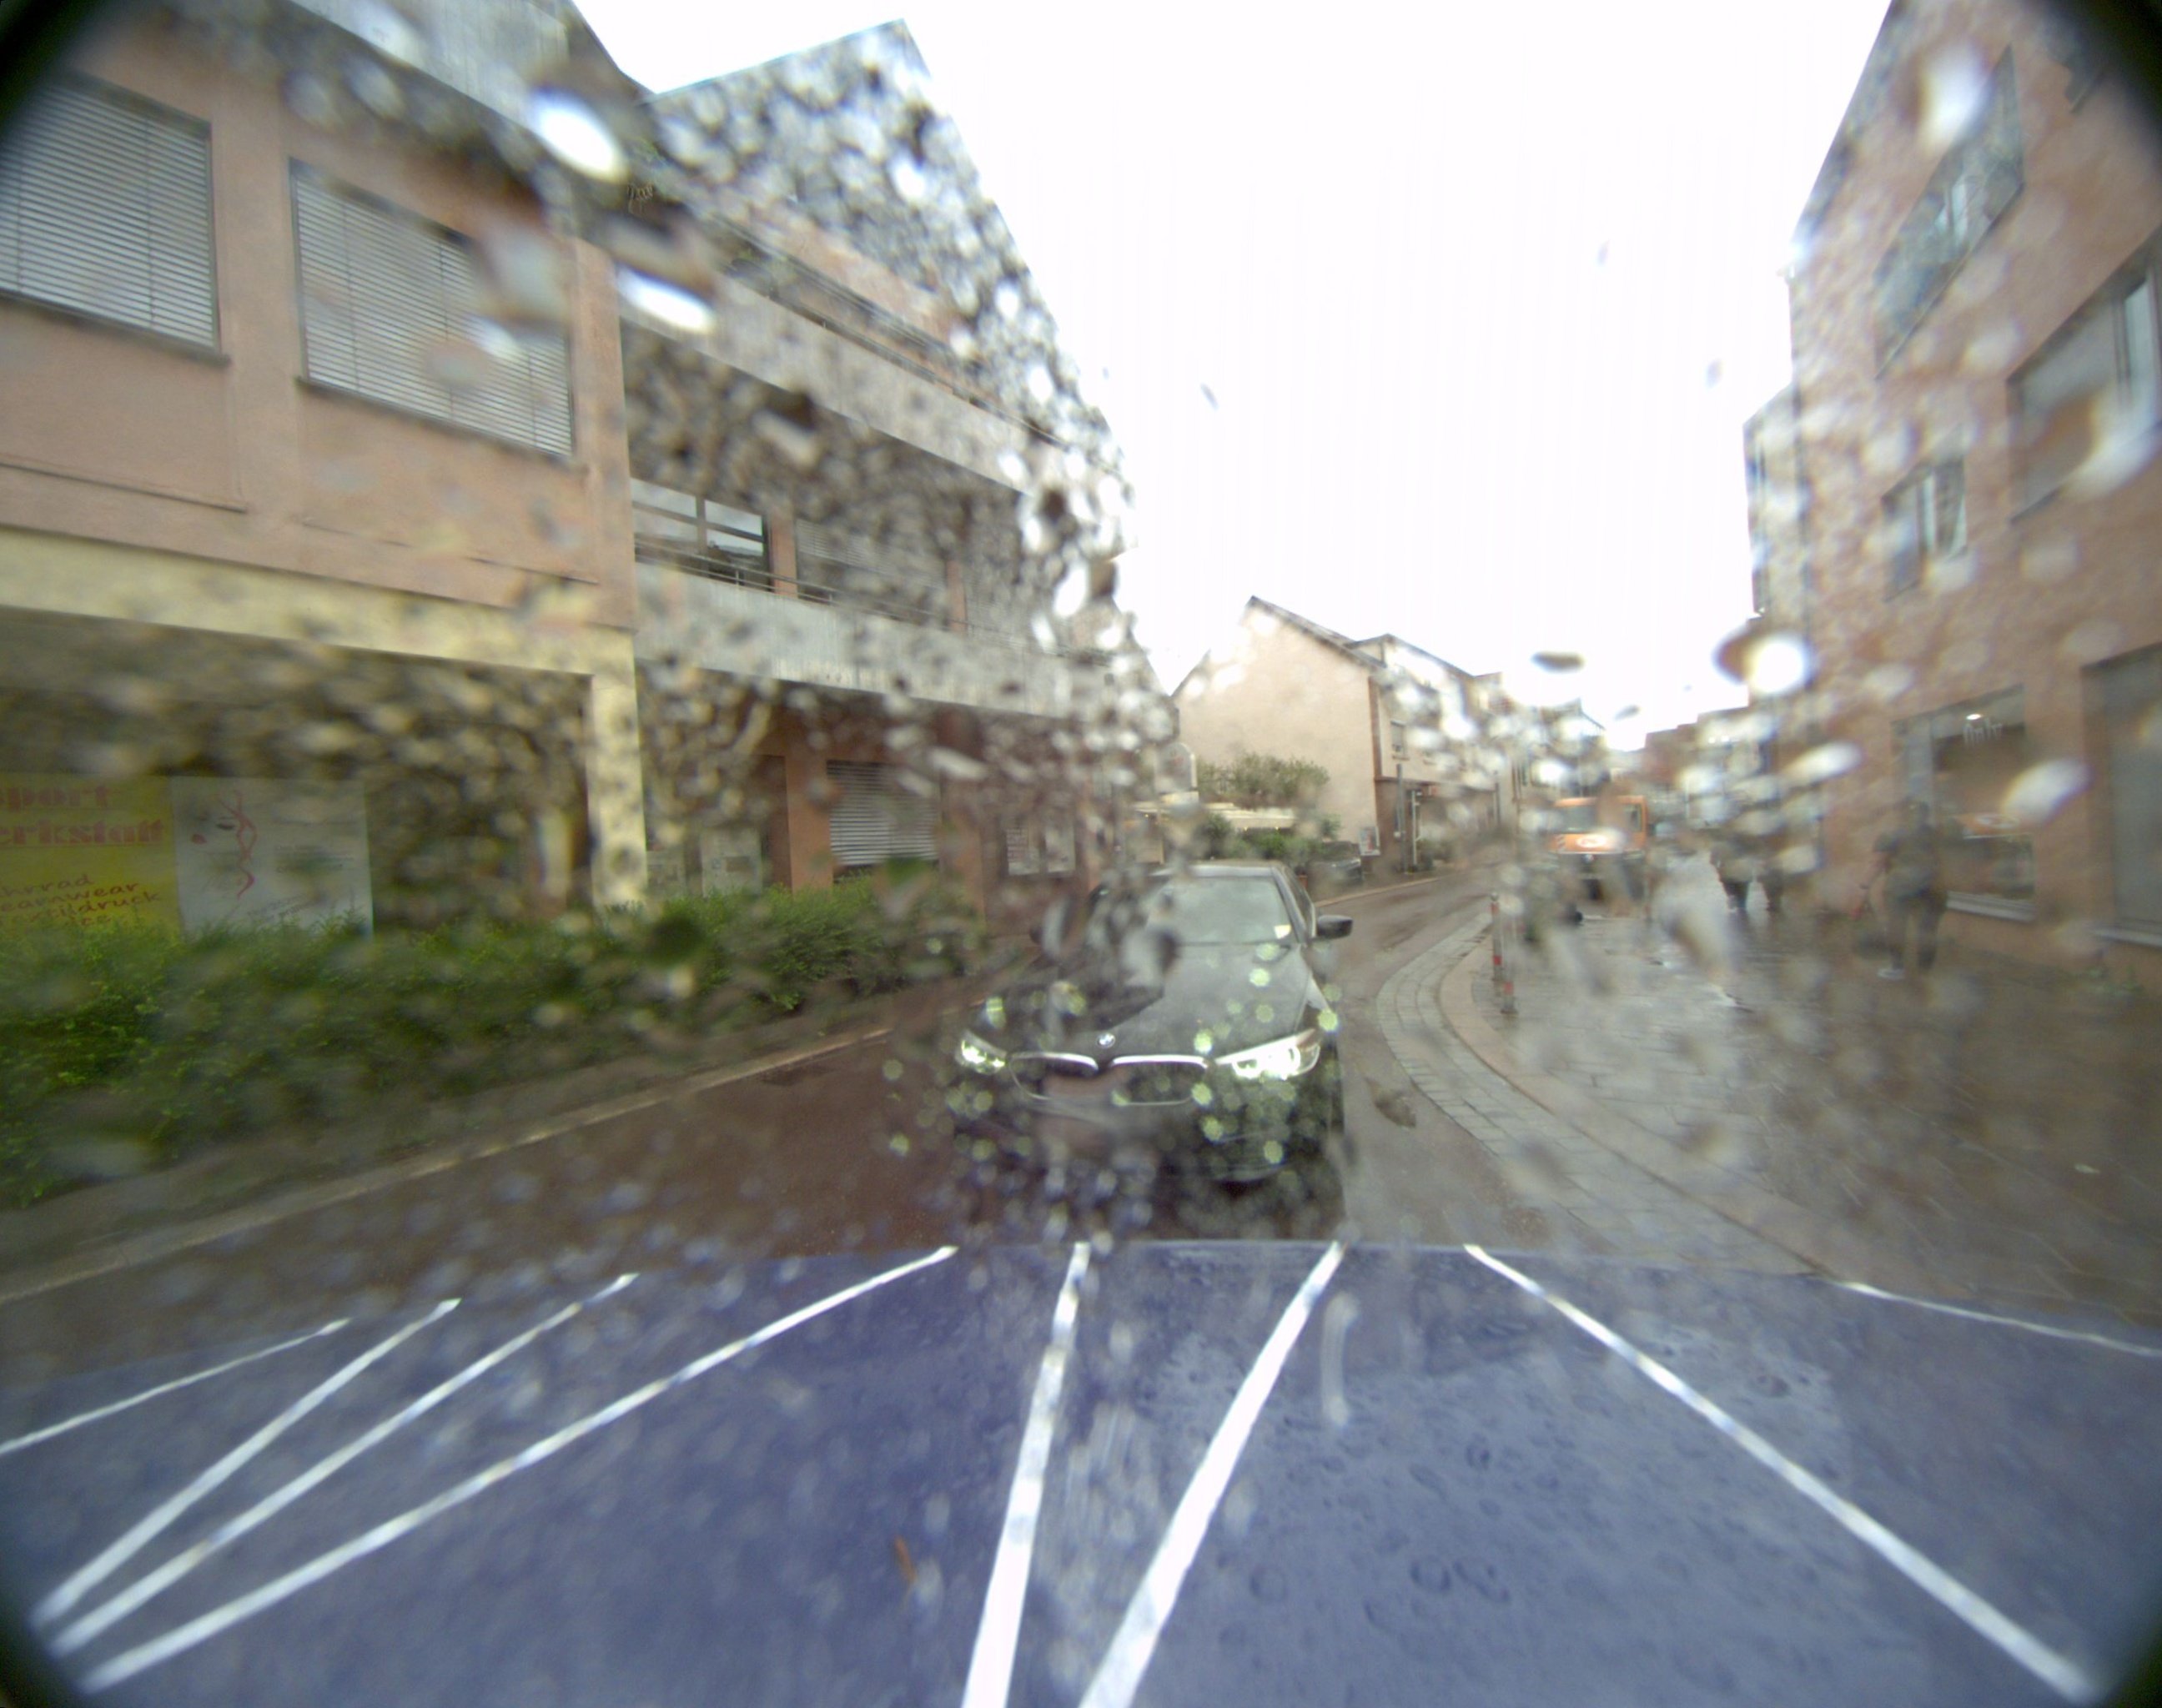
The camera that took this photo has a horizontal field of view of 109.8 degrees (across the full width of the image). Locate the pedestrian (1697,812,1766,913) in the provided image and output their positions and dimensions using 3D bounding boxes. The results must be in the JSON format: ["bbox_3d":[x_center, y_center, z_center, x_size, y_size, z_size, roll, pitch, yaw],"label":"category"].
[{"bbox_3d":[10.979,0.134,12.853,0.715,1.630,0.747,-4,0,33],"label":"pedestrian"}]

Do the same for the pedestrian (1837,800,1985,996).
[{"bbox_3d":[7.216,0.361,6.649,0.660,1.600,0.685,-3,1,30],"label":"pedestrian"}]

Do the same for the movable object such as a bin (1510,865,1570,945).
[{"bbox_3d":[6.341,0.692,10.504,0.657,1.031,0.611,-3,1,31],"label":"movable object such as a bin"}]

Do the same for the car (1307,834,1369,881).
[{"bbox_3d":[8.472,0.058,25.137,1.735,1.349,3.941,-3,1,18],"label":"car"}]

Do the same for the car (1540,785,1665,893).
[{"bbox_3d":[12.811,-0.396,18.477,1.994,2.227,5.872,-2,1,39],"label":"car"}]

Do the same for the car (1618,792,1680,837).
[{"bbox_3d":[41.767,-2.833,55.735,2.705,2.857,8.861,-3,0,42],"label":"car"}]

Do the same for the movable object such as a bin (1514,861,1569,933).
[{"bbox_3d":[6.998,0.652,11.557,0.657,1.031,0.611,-2,1,31],"label":"movable object such as a bin"}]

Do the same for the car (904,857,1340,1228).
[{"bbox_3d":[0.787,0.831,5.509,1.945,1.394,4.425,-3,1,18],"label":"car"}]

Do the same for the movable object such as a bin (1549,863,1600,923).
[{"bbox_3d":[7.967,0.634,12.267,0.582,0.921,0.482,-4,0,41],"label":"movable object such as a bin"}]

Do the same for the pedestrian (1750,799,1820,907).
[{"bbox_3d":[11.566,-0.021,12.510,0.623,1.702,0.810,-4,0,33],"label":"pedestrian"}]
